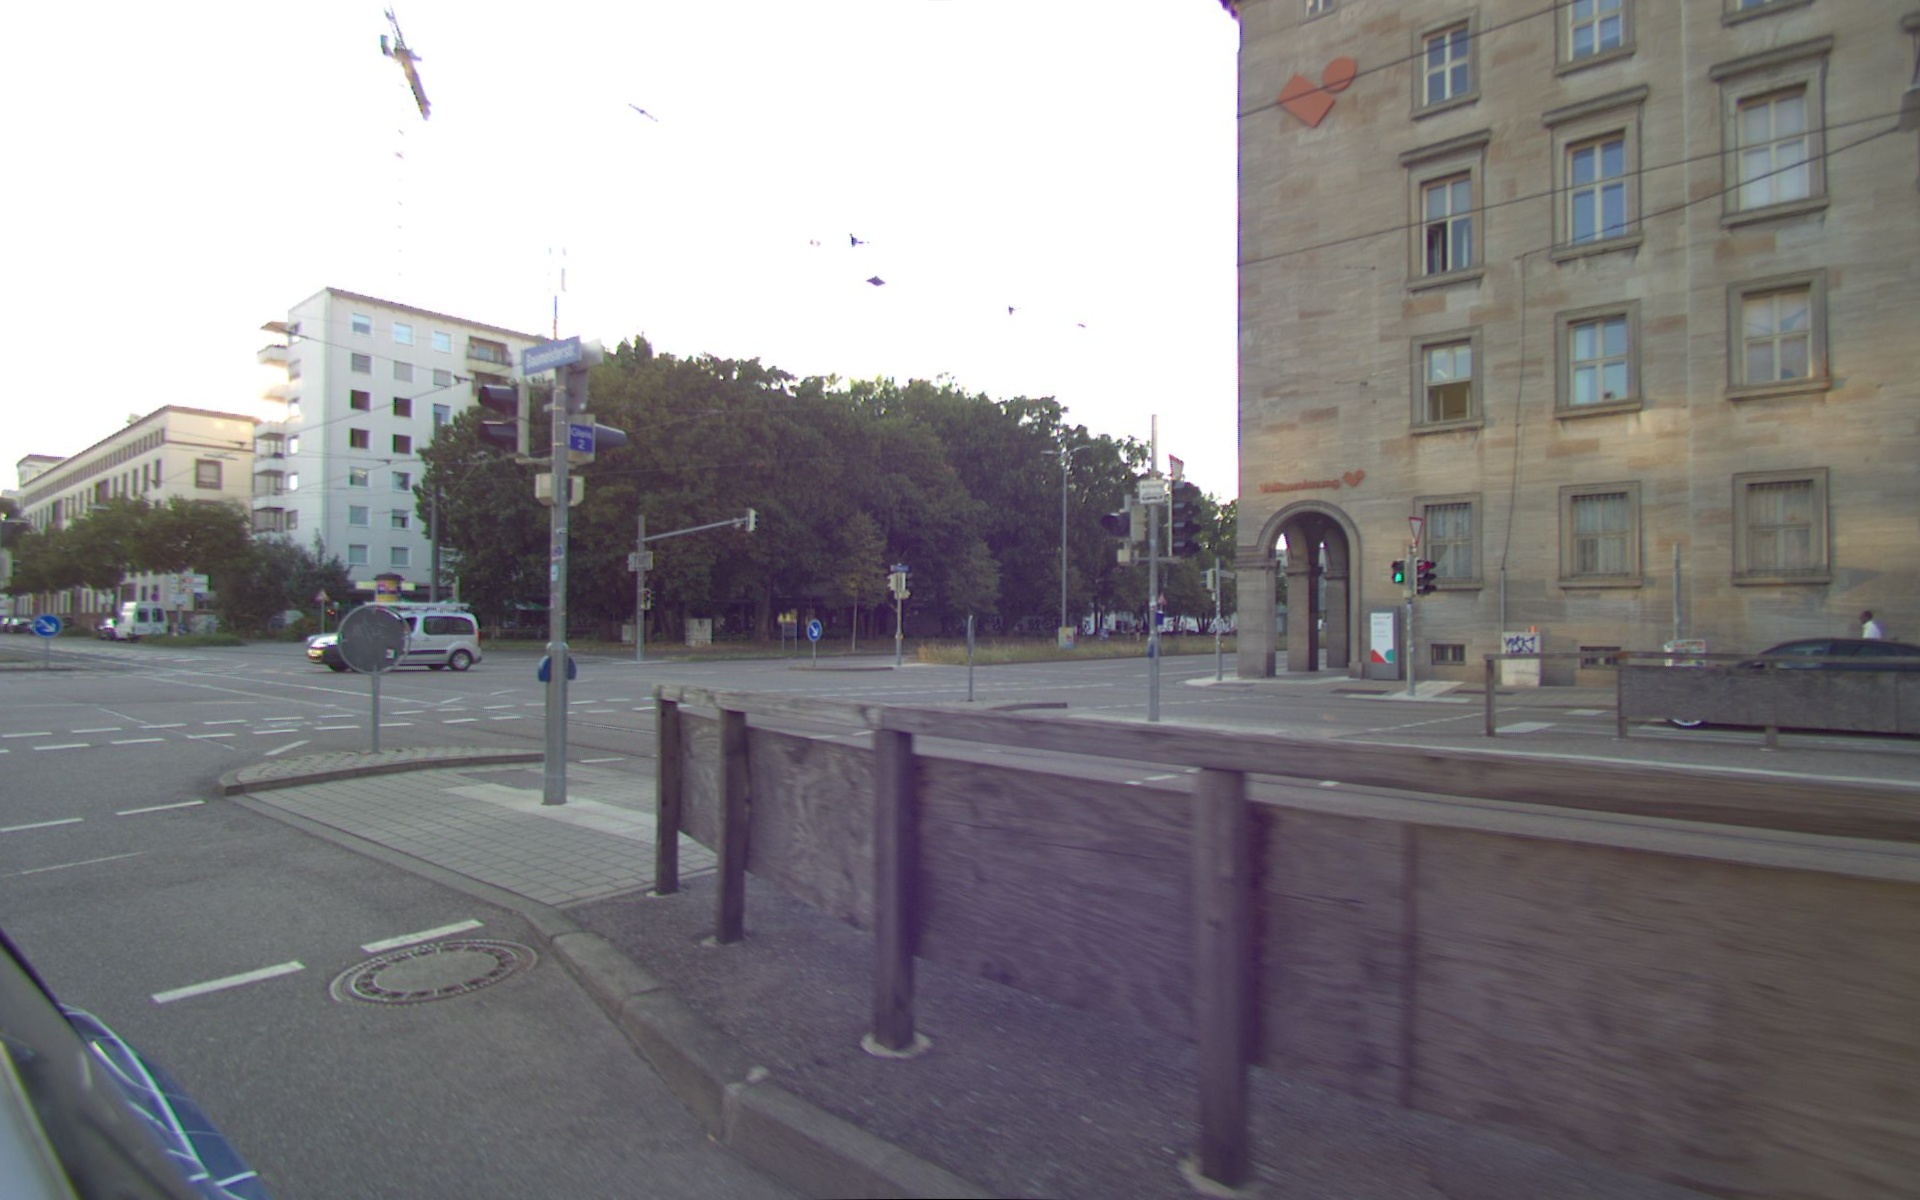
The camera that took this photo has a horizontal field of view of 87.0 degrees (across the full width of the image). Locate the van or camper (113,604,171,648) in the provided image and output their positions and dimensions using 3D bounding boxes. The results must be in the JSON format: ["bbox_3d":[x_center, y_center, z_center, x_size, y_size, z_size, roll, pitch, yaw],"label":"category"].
[{"bbox_3d":[-51.988,1.648,64.292,4.709,2.702,2.083,-1,-2,42],"label":"van or camper"}]

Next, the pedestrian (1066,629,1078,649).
[{"bbox_3d":[8.574,2.963,77.630,0.677,1.508,0.637,-2,-2,41],"label":"pedestrian"}]

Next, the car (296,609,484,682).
[{"bbox_3d":[-16.416,1.282,29.339,1.803,1.926,4.407,-2,-2,38],"label":"car"}]

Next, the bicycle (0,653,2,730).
[{"bbox_3d":[-13.738,1.274,13.242,0.600,1.123,2.089,0,-2,-6],"label":"bicycle"}]

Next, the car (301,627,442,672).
[{"bbox_3d":[-22.446,1.889,38.733,4.285,1.676,1.887,0,-2,0],"label":"car"}]

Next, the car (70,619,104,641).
[{"bbox_3d":[-70.103,2.376,81.236,3.810,1.718,1.698,-1,-2,44],"label":"car"}]

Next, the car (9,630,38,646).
[{"bbox_3d":[-87.094,3.488,94.080,3.810,1.441,1.699,-2,-2,43],"label":"car"}]

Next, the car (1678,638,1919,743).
[{"bbox_3d":[13.386,1.302,15.114,4.228,1.438,1.626,-2,-2,40],"label":"car"}]

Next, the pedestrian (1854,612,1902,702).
[{"bbox_3d":[17.918,1.101,19.756,0.646,1.723,0.688,-2,-3,43],"label":"pedestrian"}]

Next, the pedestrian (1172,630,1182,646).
[{"bbox_3d":[19.706,3.418,91.764,0.632,1.474,0.637,-2,-2,42],"label":"pedestrian"}]
